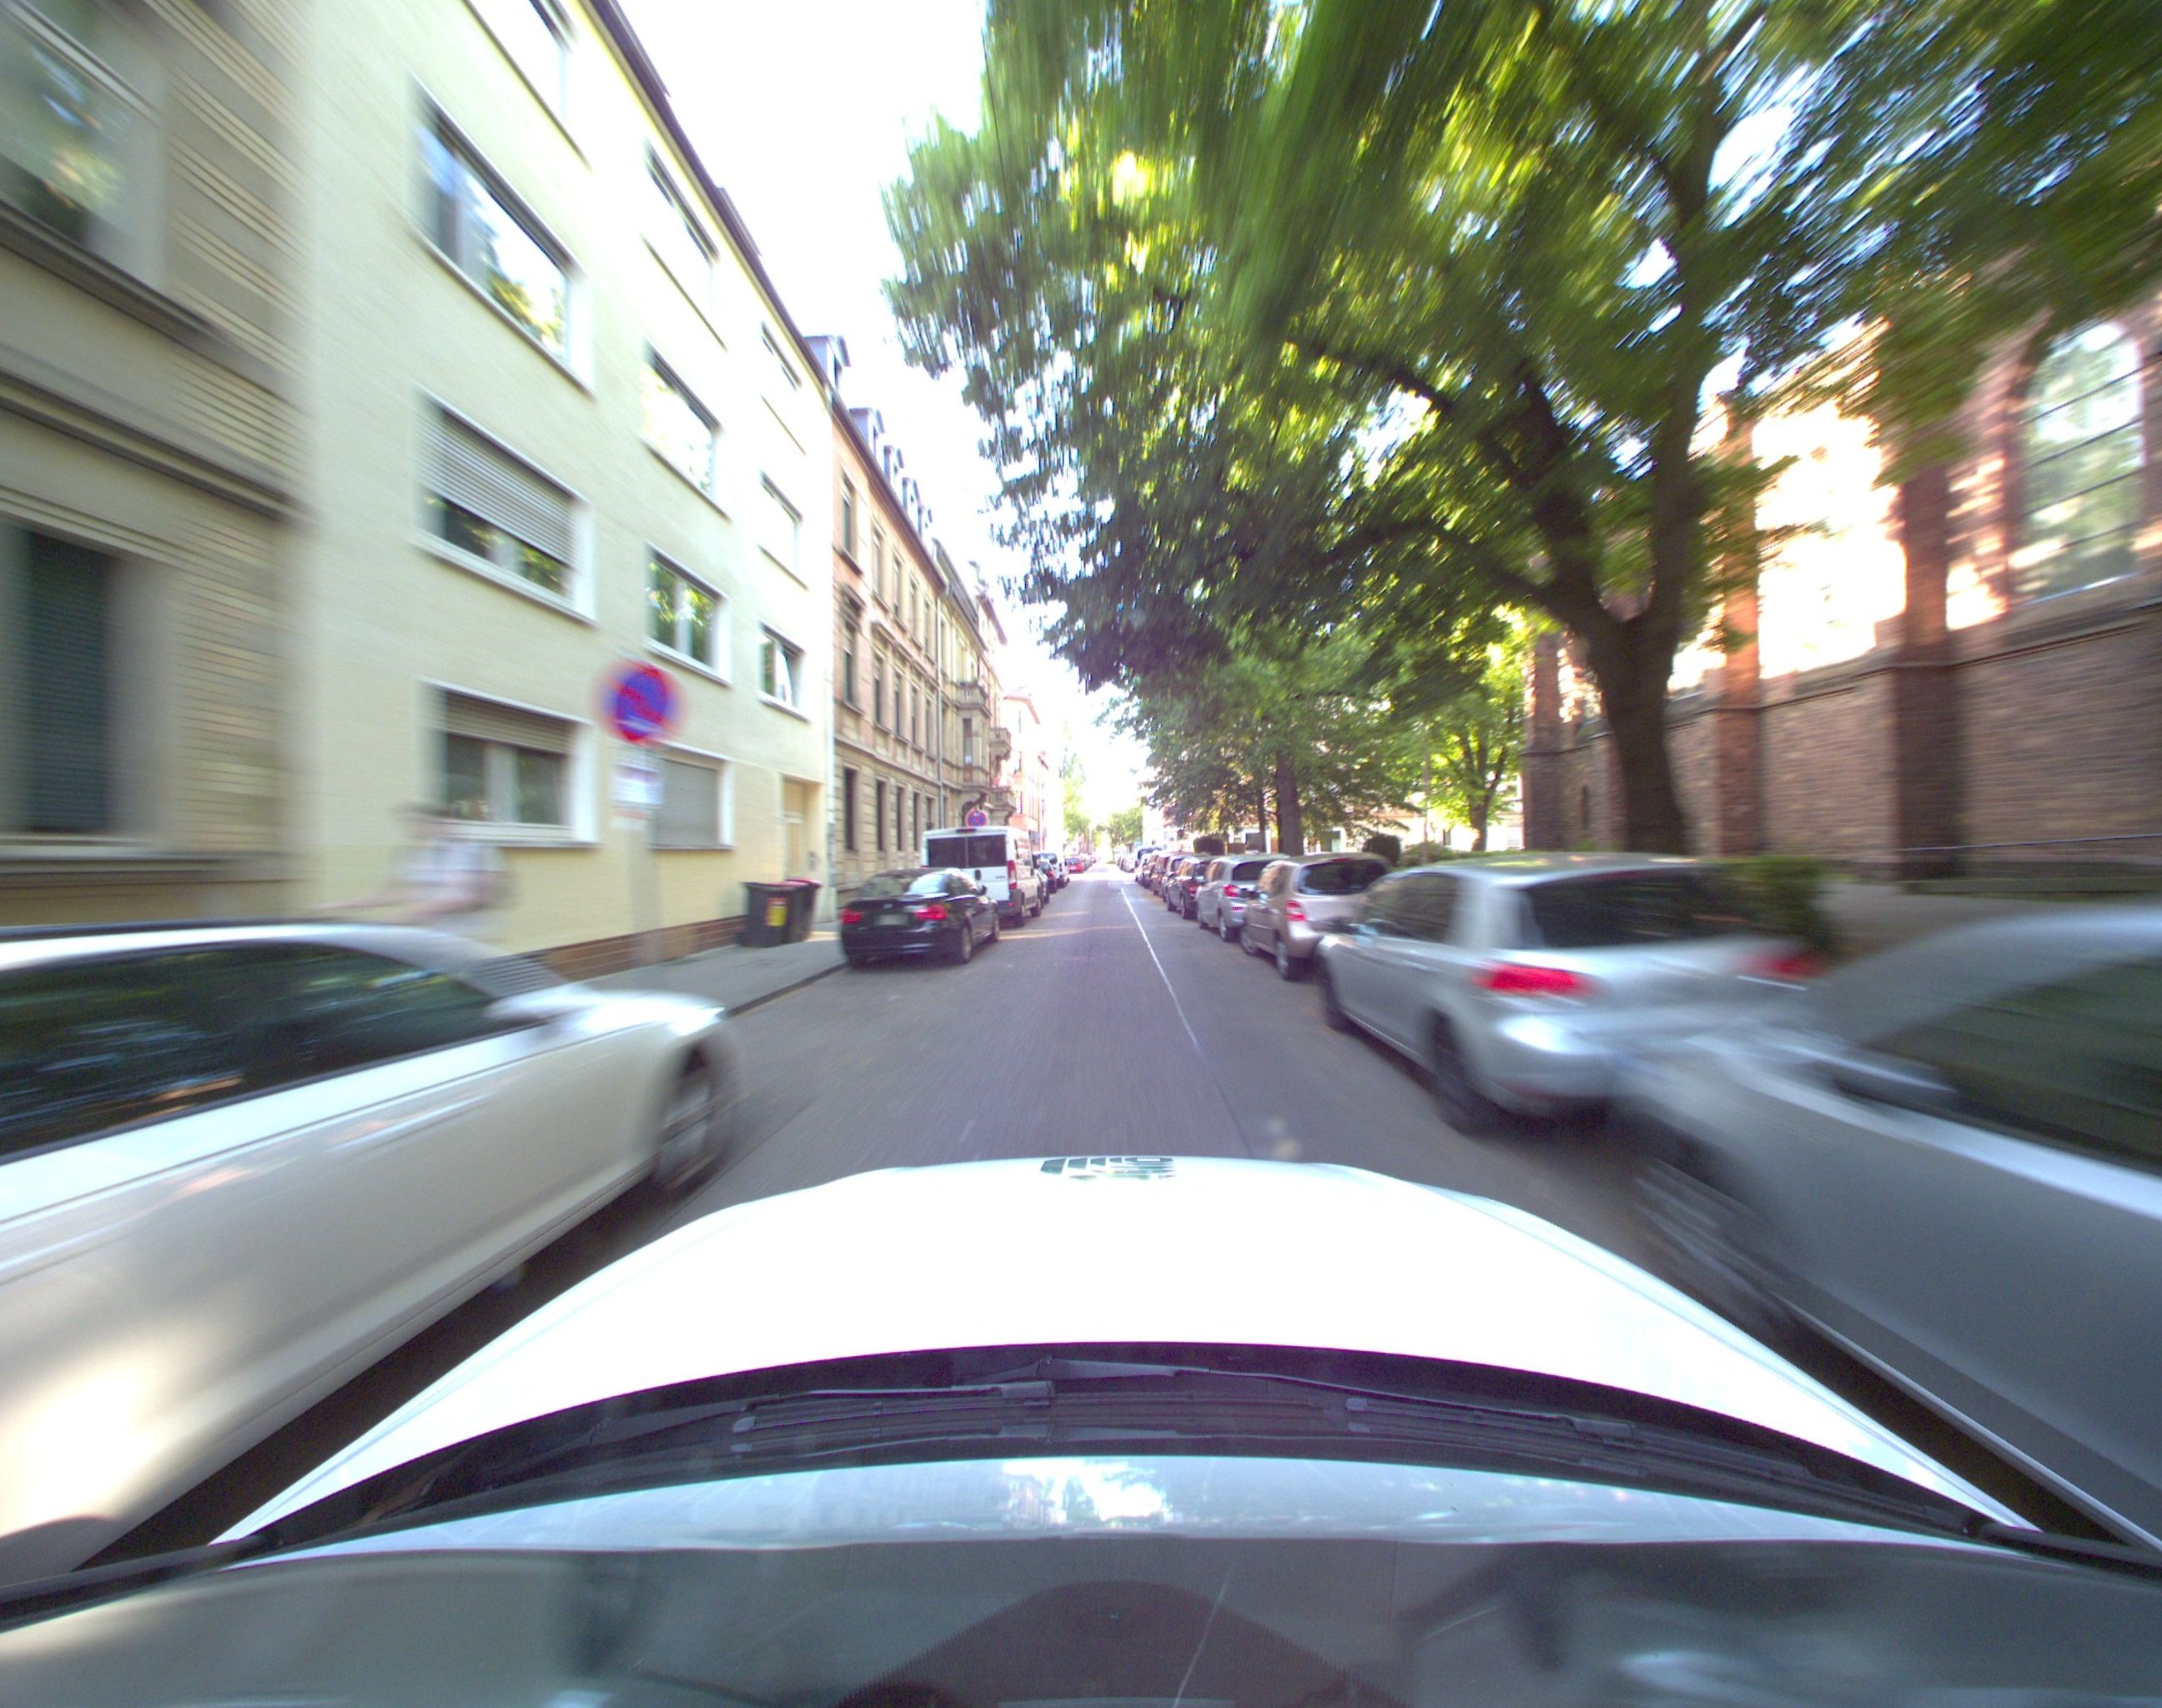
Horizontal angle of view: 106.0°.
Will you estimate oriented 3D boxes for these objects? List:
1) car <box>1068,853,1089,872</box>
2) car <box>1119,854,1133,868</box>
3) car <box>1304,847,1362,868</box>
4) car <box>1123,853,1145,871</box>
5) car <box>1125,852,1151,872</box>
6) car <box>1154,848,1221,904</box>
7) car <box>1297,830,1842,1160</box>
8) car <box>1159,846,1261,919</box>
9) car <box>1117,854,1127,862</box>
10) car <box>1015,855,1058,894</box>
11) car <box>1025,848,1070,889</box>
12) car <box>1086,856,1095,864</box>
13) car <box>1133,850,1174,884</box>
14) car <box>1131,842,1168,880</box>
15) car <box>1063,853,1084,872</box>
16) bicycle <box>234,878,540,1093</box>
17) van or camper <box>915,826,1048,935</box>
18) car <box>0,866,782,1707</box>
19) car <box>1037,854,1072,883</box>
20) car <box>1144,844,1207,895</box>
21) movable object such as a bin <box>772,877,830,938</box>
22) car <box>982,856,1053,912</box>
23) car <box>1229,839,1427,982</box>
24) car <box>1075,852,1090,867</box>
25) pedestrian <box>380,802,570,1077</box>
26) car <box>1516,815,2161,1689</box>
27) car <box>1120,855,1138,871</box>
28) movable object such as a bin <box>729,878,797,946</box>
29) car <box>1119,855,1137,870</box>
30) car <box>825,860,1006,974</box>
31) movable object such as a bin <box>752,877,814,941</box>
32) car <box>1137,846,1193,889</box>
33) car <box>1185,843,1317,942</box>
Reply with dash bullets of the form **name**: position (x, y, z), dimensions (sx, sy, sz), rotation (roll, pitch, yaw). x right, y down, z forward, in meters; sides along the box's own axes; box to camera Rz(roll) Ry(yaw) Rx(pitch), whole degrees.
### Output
- **car**: position (-0.254, 0.865, 84.645), dimensions (1.736, 1.811, 4.676), rotation (-3, 0, 3)
- **car**: position (5.837, 0.912, 106.026), dimensions (1.669, 1.681, 4.097), rotation (-3, -1, 3)
- **car**: position (18.379, 0.290, 59.444), dimensions (3.833, 1.473, 1.637), rotation (0, -2, 8)
- **car**: position (4.831, 0.752, 74.438), dimensions (1.738, 1.506, 4.022), rotation (-3, 0, 1)
- **car**: position (4.778, 0.650, 69.007), dimensions (1.739, 1.506, 4.356), rotation (-3, 0, -1)
- **car**: position (3.304, 0.671, 25.842), dimensions (1.613, 1.486, 3.777), rotation (-6, -1, 2)
- **car**: position (2.818, 0.689, 5.790), dimensions (1.593, 1.470, 3.871), rotation (-3, -1, 2)
- **car**: position (3.066, 0.659, 20.301), dimensions (1.670, 1.441, 4.694), rotation (-6, -1, 0)
- **car**: position (7.985, 0.824, 159.531), dimensions (1.670, 1.487, 3.638), rotation (-3, 0, 1)
- **car**: position (-1.882, 0.865, 35.426), dimensions (1.688, 1.514, 3.971), rotation (-3, 0, -1)
- **car**: position (-1.610, 0.668, 40.362), dimensions (1.824, 1.811, 4.573), rotation (-3, 0, 1)
- **car**: position (1.815, 1.181, 157.889), dimensions (1.670, 1.487, 4.095), rotation (-3, 0, 1)
- **car**: position (3.645, 0.633, 41.244), dimensions (1.713, 1.571, 3.828), rotation (-1, 0, 0)
- **car**: position (3.906, 0.364, 46.696), dimensions (1.906, 1.998, 4.796), rotation (-3, 0, 4)
- **car**: position (-0.587, 0.728, 69.544), dimensions (1.622, 1.481, 3.602), rotation (-3, 0, 1)
- **bicycle**: position (-4.859, 0.828, 5.905), dimensions (0.568, 1.244, 1.845), rotation (2, 0, 1)
- **van or camper**: position (-2.174, 0.542, 19.458), dimensions (2.167, 2.148, 5.158), rotation (-3, 0, 3)
- **car**: position (-2.677, 0.841, 2.414), dimensions (1.724, 1.456, 4.523), rotation (-3, 0, 2)
- **car**: position (-1.450, 0.763, 45.764), dimensions (1.687, 1.481, 3.974), rotation (-3, 0, 1)
- **car**: position (3.446, 0.573, 30.396), dimensions (1.615, 1.624, 3.860), rotation (-6, -1, -2)
- **movable object such as a bin**: position (-5.161, 0.969, 15.048), dimensions (0.796, 1.088, 0.667), rotation (-1, -1, 5)
- **car**: position (-1.911, 0.875, 25.759), dimensions (1.760, 1.514, 4.194), rotation (-3, 0, 1)
- **car**: position (3.116, 0.656, 11.016), dimensions (1.593, 1.468, 3.565), rotation (-6, -1, 2)
- **car**: position (0.230, 0.661, 103.810), dimensions (1.759, 1.785, 4.040), rotation (-3, 0, 1)
- **pedestrian**: position (-4.347, 0.567, 5.931), dimensions (0.486, 1.803, 1.115), rotation (1, 0, 0)
- **car**: position (2.697, 0.694, 1.679), dimensions (1.593, 1.505, 3.722), rotation (-6, -1, 2)
- **car**: position (4.920, 0.869, 84.103), dimensions (1.670, 1.506, 3.938), rotation (-3, 0, 1)
- **movable object such as a bin**: position (-5.289, 0.952, 13.568), dimensions (0.832, 1.088, 0.676), rotation (-1, -1, 4)
- **car**: position (5.078, 0.937, 88.518), dimensions (1.670, 1.506, 3.938), rotation (-3, 0, 1)
- **car**: position (-2.424, 0.861, 13.089), dimensions (1.723, 1.402, 4.319), rotation (-3, 0, 3)
- **movable object such as a bin**: position (-5.238, 0.955, 14.343), dimensions (0.796, 1.088, 0.667), rotation (-1, -1, 5)
- **car**: position (3.675, 0.604, 36.350), dimensions (1.735, 1.603, 4.260), rotation (-6, -1, -2)
- **car**: position (3.077, 0.677, 15.460), dimensions (1.594, 1.505, 3.627), rotation (-6, -1, 0)
